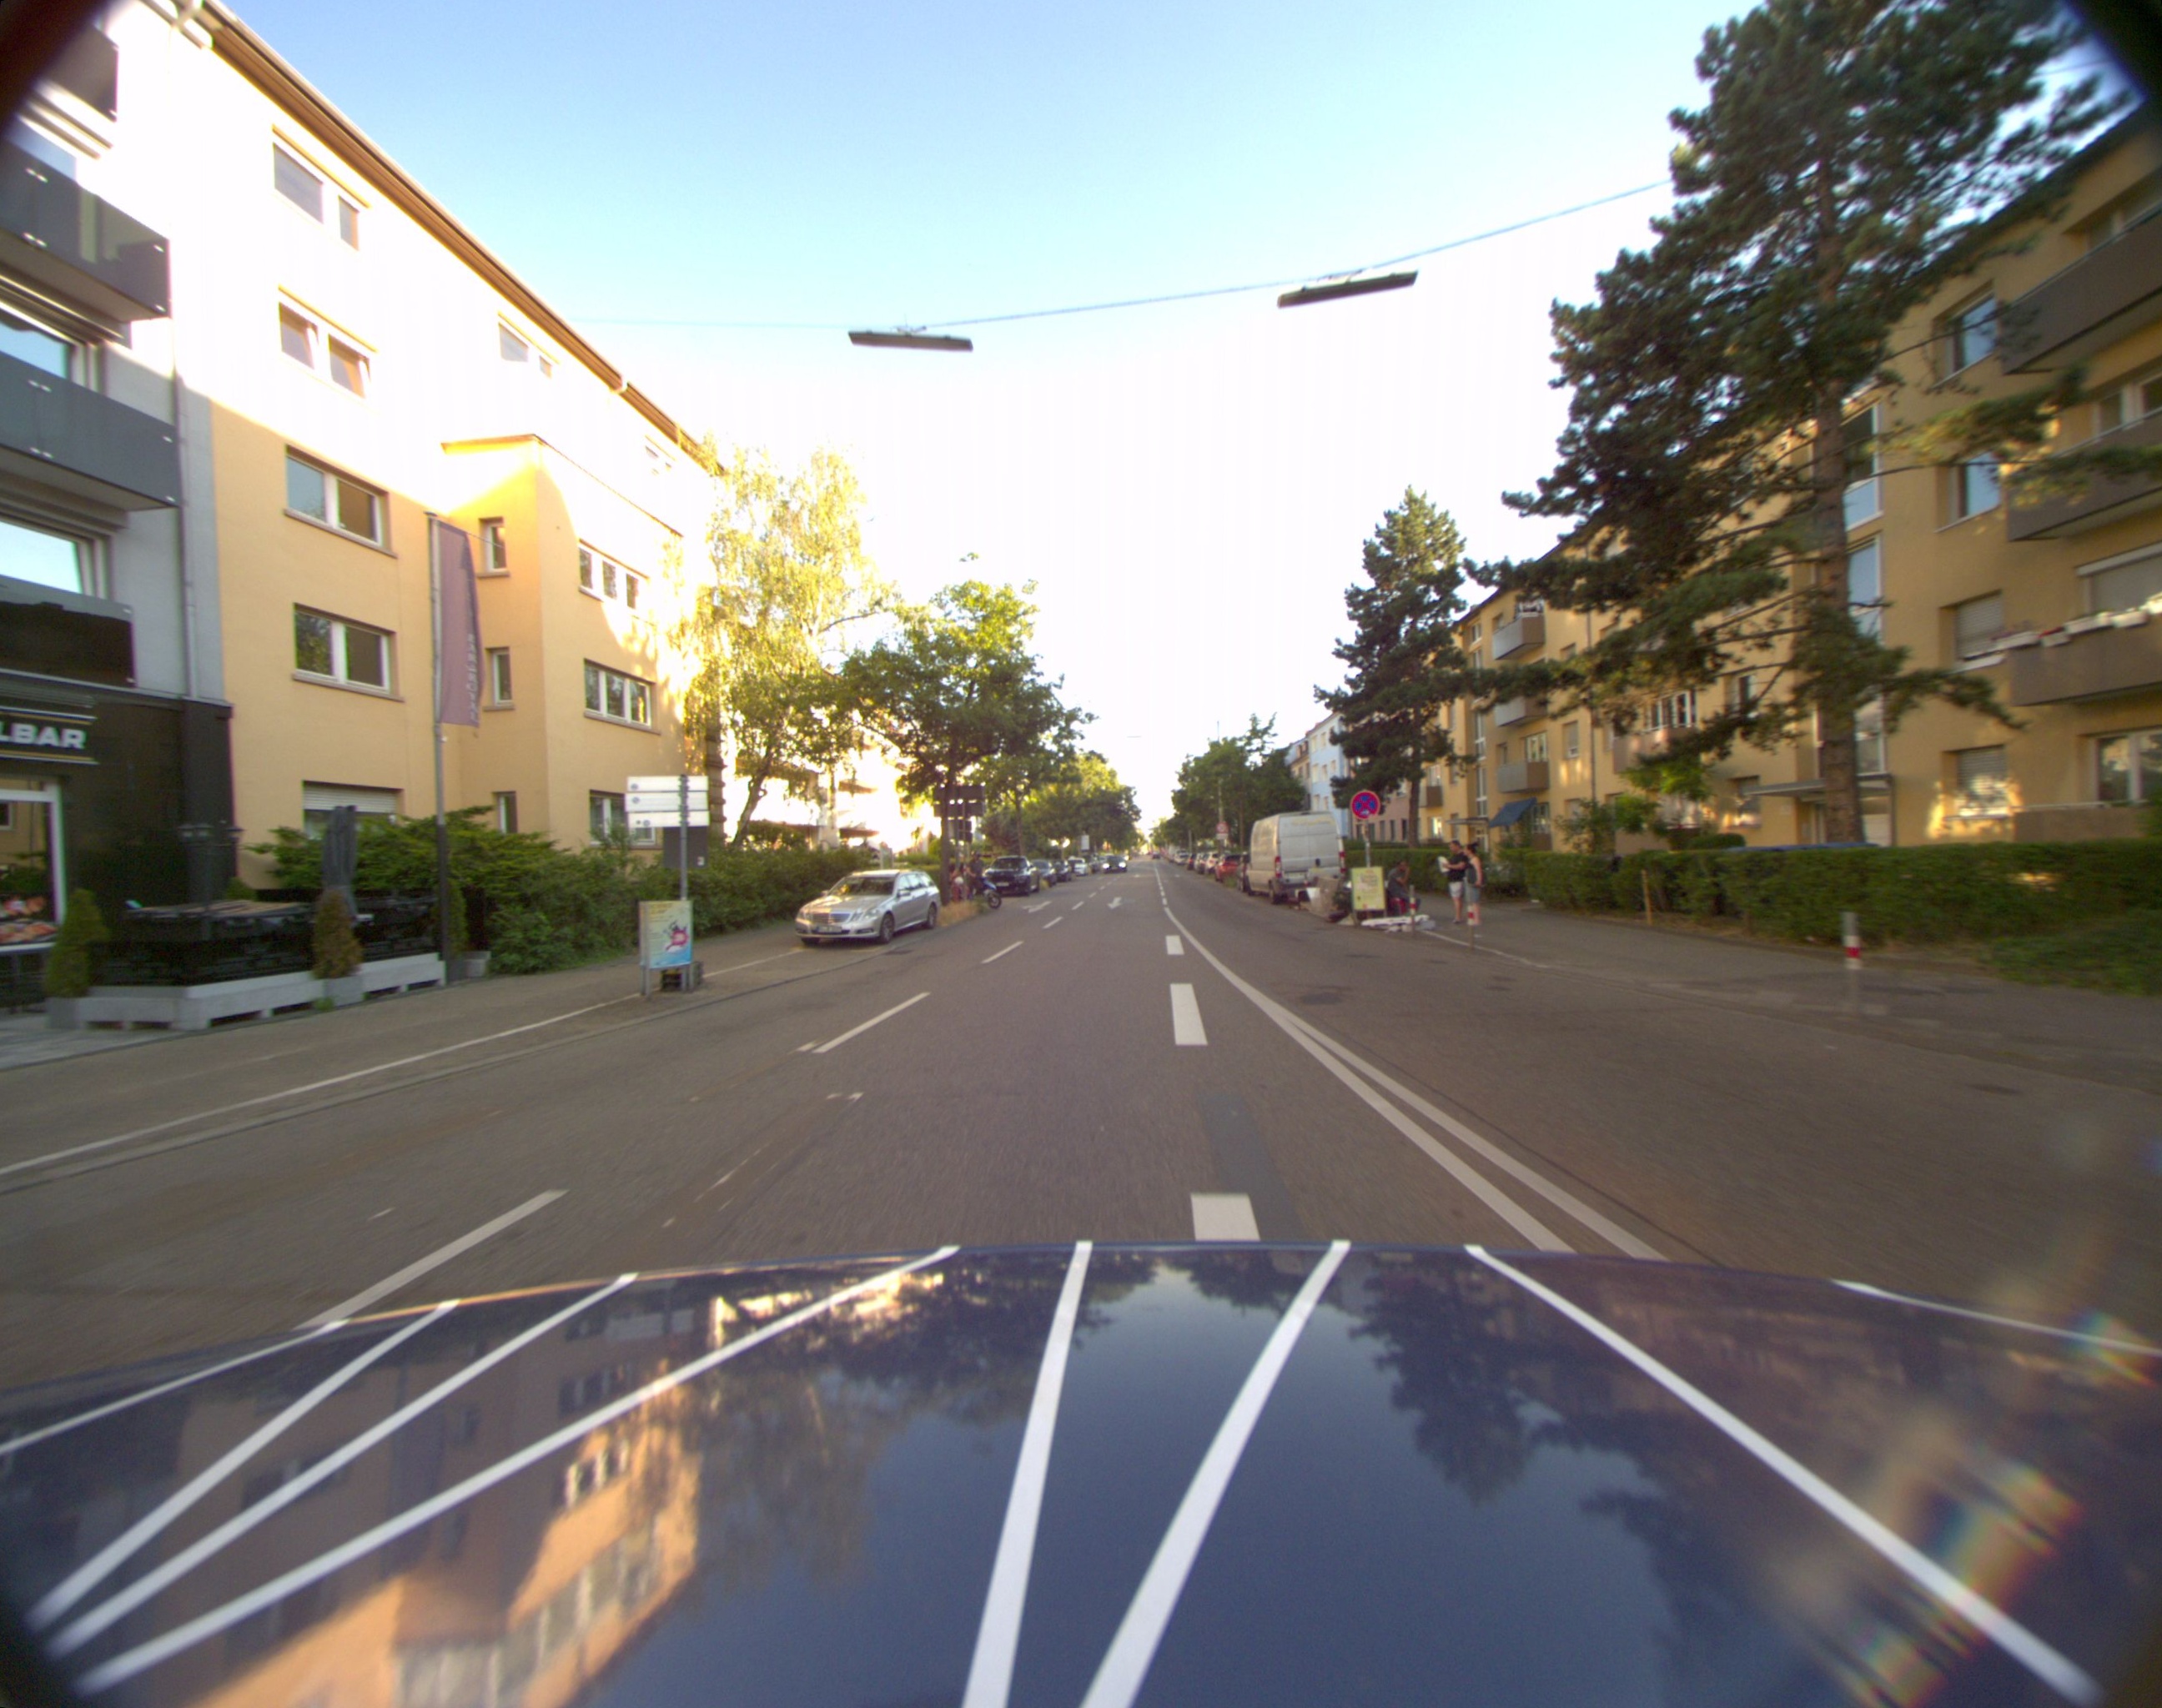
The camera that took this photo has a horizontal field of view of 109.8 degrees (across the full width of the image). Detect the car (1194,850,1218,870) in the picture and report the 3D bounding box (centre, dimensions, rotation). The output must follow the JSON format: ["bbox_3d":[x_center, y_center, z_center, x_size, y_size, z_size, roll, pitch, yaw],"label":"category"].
[{"bbox_3d":[10.168,0.440,62.153,1.594,1.483,3.642,-3,1,5],"label":"car"}]

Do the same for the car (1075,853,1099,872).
[{"bbox_3d":[0.626,0.726,69.917,1.920,1.672,4.708,-1,0,4],"label":"car"}]

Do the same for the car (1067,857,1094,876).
[{"bbox_3d":[-0.007,0.956,60.176,1.765,1.394,4.335,-1,0,5],"label":"car"}]

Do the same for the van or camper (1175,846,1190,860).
[{"bbox_3d":[14.743,-0.141,110.767,1.808,2.002,4.866,-3,0,4],"label":"van or camper"}]

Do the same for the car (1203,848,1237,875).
[{"bbox_3d":[9.108,0.470,49.931,1.780,1.579,4.187,-3,0,6],"label":"car"}]

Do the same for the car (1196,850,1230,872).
[{"bbox_3d":[9.492,0.460,54.914,1.998,1.439,4.459,-2,0,5],"label":"car"}]

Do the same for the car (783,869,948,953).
[{"bbox_3d":[-4.665,1.175,17.333,1.859,1.503,4.837,-1,0,7],"label":"car"}]

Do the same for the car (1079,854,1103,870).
[{"bbox_3d":[1.020,0.753,74.846,1.788,1.495,4.833,-2,0,7],"label":"car"}]

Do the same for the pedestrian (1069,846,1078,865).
[{"bbox_3d":[-0.707,0.173,75.670,0.669,1.773,0.764,-5,3,5],"label":"pedestrian"}]

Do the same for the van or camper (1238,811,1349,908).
[{"bbox_3d":[6.723,0.129,24.855,2.040,2.648,6.016,-4,0,3],"label":"van or camper"}]

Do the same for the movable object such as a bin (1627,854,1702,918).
[{"bbox_3d":[10.320,0.557,13.455,0.813,1.044,0.582,-5,0,4],"label":"movable object such as a bin"}]

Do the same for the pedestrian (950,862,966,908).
[{"bbox_3d":[-3.980,0.993,24.623,0.439,1.422,0.704,-2,1,-6],"label":"pedestrian"}]

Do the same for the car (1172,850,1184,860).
[{"bbox_3d":[15.288,0.105,119.468,1.808,1.489,3.958,-3,0,7],"label":"car"}]

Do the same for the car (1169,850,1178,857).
[{"bbox_3d":[19.417,-0.123,159.341,1.762,1.439,3.788,-2,0,10],"label":"car"}]

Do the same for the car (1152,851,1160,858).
[{"bbox_3d":[18.245,0.015,184.740,1.698,1.570,3.832,-3,0,4],"label":"car"}]

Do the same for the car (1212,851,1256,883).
[{"bbox_3d":[7.759,0.631,38.815,1.720,1.443,3.924,-3,0,5],"label":"car"}]

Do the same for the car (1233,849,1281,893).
[{"bbox_3d":[6.828,0.626,29.674,1.406,1.539,2.763,-4,0,7],"label":"car"}]

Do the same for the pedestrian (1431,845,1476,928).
[{"bbox_3d":[7.583,0.644,15.479,0.481,1.642,0.725,-3,1,-1],"label":"pedestrian"}]

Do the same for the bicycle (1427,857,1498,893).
[{"bbox_3d":[11.466,0.623,22.886,1.762,0.976,0.590,-3,1,6],"label":"bicycle"}]

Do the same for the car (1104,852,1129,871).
[{"bbox_3d":[3.095,0.604,65.935,1.998,1.525,4.001,-3,0,4],"label":"car"}]

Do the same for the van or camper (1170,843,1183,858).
[{"bbox_3d":[16.710,-0.597,133.293,1.917,2.528,5.336,-2,0,5],"label":"van or camper"}]

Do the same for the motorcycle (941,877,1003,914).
[{"bbox_3d":[-3.562,1.344,24.907,1.931,1.065,0.820,-2,1,-6],"label":"motorcycle"}]

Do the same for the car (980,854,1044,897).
[{"bbox_3d":[-2.924,0.883,33.160,1.952,1.645,4.797,-2,0,5],"label":"car"}]

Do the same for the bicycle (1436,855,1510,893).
[{"bbox_3d":[11.395,0.574,22.135,1.789,0.976,0.590,-3,1,6],"label":"bicycle"}]

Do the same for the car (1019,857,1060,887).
[{"bbox_3d":[-2.249,0.949,42.073,1.720,1.463,4.432,-1,0,3],"label":"car"}]

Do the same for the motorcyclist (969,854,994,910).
[{"bbox_3d":[-3.250,0.907,24.889,0.738,1.768,1.088,-2,1,-6],"label":"motorcyclist"}]

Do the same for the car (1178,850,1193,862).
[{"bbox_3d":[13.116,0.263,95.540,1.683,1.434,3.883,-4,0,7],"label":"car"}]

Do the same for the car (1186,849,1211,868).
[{"bbox_3d":[10.373,0.400,67.293,1.841,1.508,4.317,-4,0,6],"label":"car"}]

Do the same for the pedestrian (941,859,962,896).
[{"bbox_3d":[-5.813,1.047,34.126,0.748,1.606,0.580,-2,1,4],"label":"pedestrian"}]

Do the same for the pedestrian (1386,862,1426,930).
[{"bbox_3d":[6.795,0.861,15.894,0.560,1.370,0.480,-4,1,0],"label":"pedestrian"}]

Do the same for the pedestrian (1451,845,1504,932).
[{"bbox_3d":[7.677,0.654,14.745,0.606,1.642,0.697,-2,1,-1],"label":"pedestrian"}]

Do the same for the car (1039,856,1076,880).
[{"bbox_3d":[-1.456,0.859,48.835,1.774,1.440,4.486,-1,0,5],"label":"car"}]
